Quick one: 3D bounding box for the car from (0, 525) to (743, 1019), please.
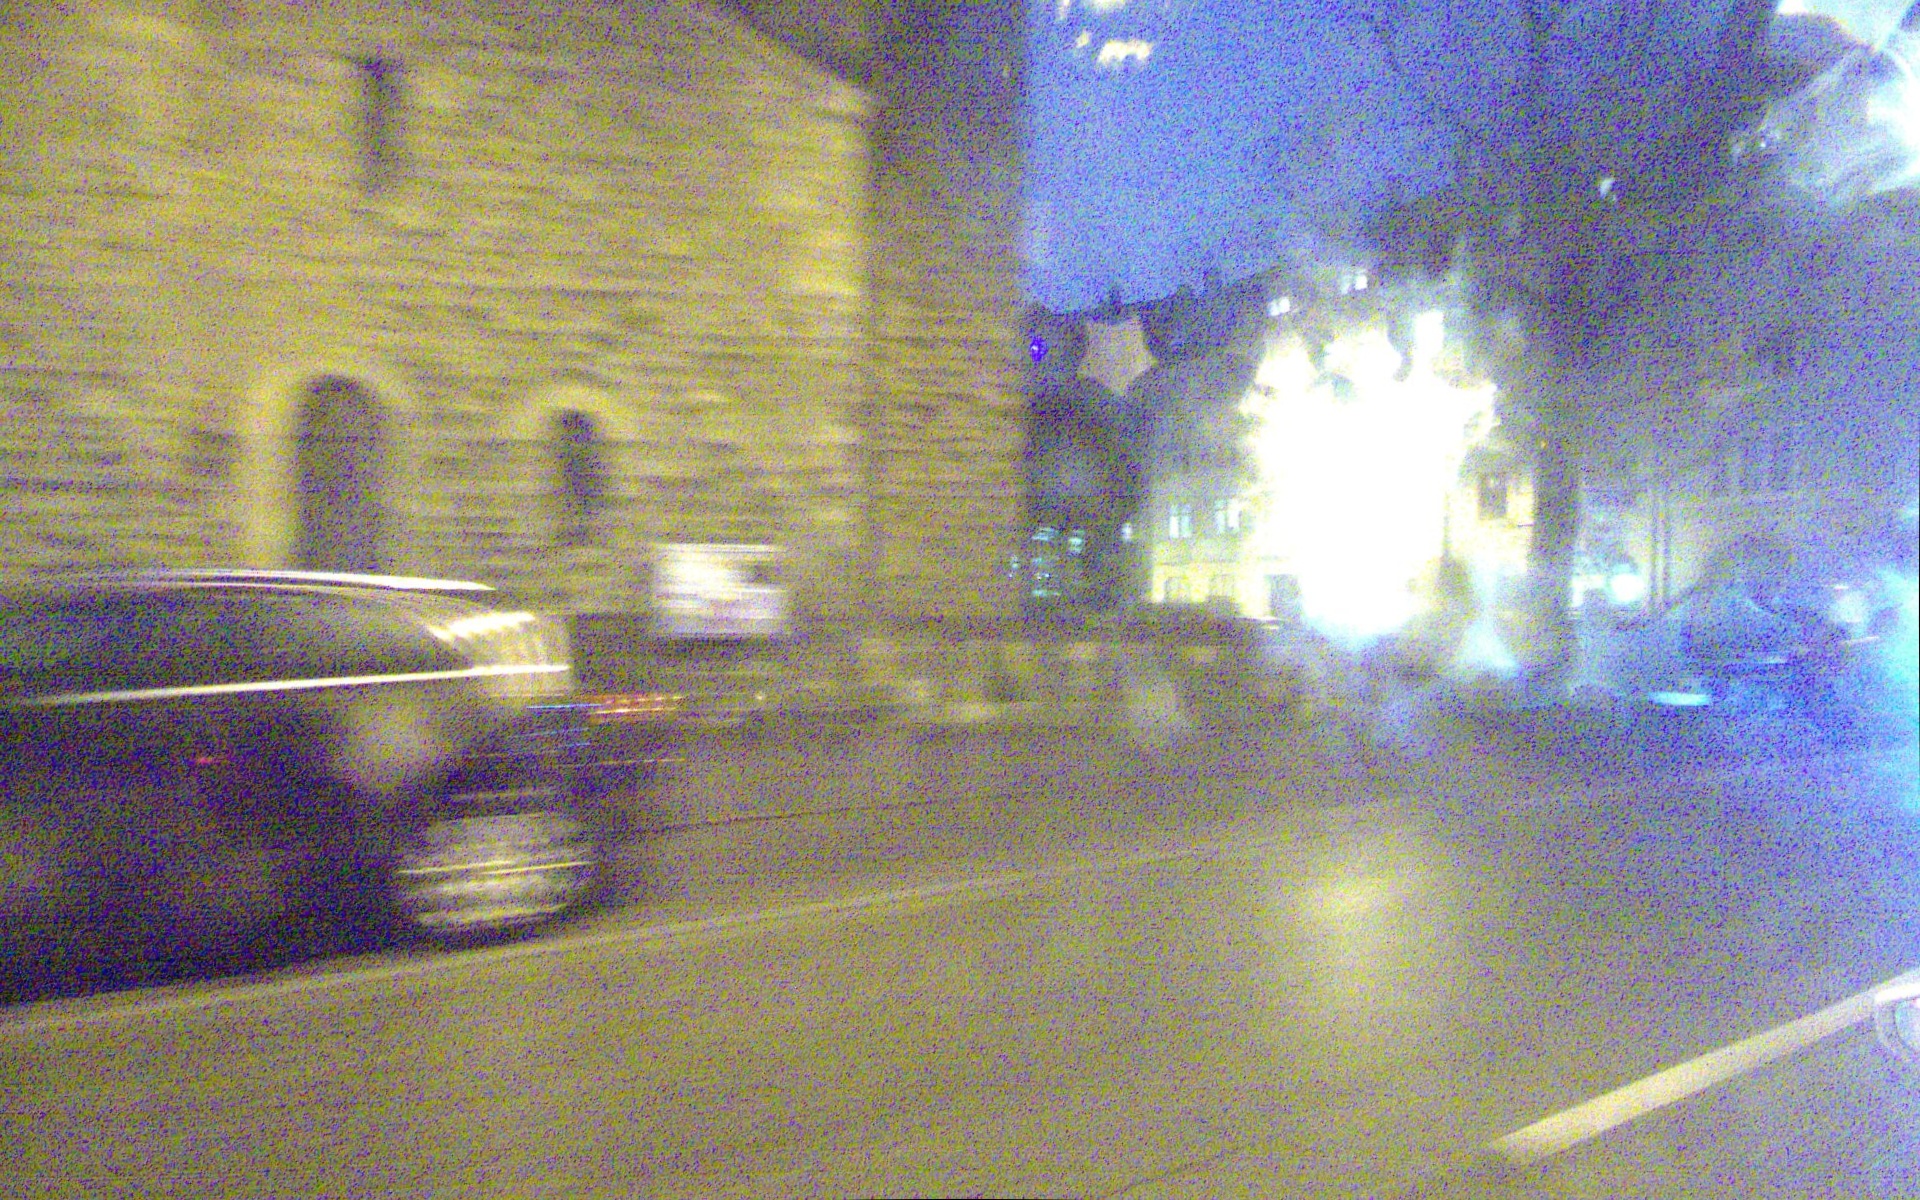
[{"bbox_3d":[-3.361,0.588,4.441,4.360,1.692,1.803,1,0,-31],"label":"car"}]

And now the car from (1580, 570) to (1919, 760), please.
[{"bbox_3d":[9.641,0.685,11.851,4.767,1.870,1.859,1,-1,-29],"label":"car"}]

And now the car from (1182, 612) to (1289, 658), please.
[{"bbox_3d":[11.062,1.372,40.625,1.834,1.629,3.964,1,1,-32],"label":"car"}]

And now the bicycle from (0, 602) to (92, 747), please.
[{"bbox_3d":[-8.172,0.608,8.338,0.532,1.196,1.967,1,-1,-11],"label":"bicycle"}]
